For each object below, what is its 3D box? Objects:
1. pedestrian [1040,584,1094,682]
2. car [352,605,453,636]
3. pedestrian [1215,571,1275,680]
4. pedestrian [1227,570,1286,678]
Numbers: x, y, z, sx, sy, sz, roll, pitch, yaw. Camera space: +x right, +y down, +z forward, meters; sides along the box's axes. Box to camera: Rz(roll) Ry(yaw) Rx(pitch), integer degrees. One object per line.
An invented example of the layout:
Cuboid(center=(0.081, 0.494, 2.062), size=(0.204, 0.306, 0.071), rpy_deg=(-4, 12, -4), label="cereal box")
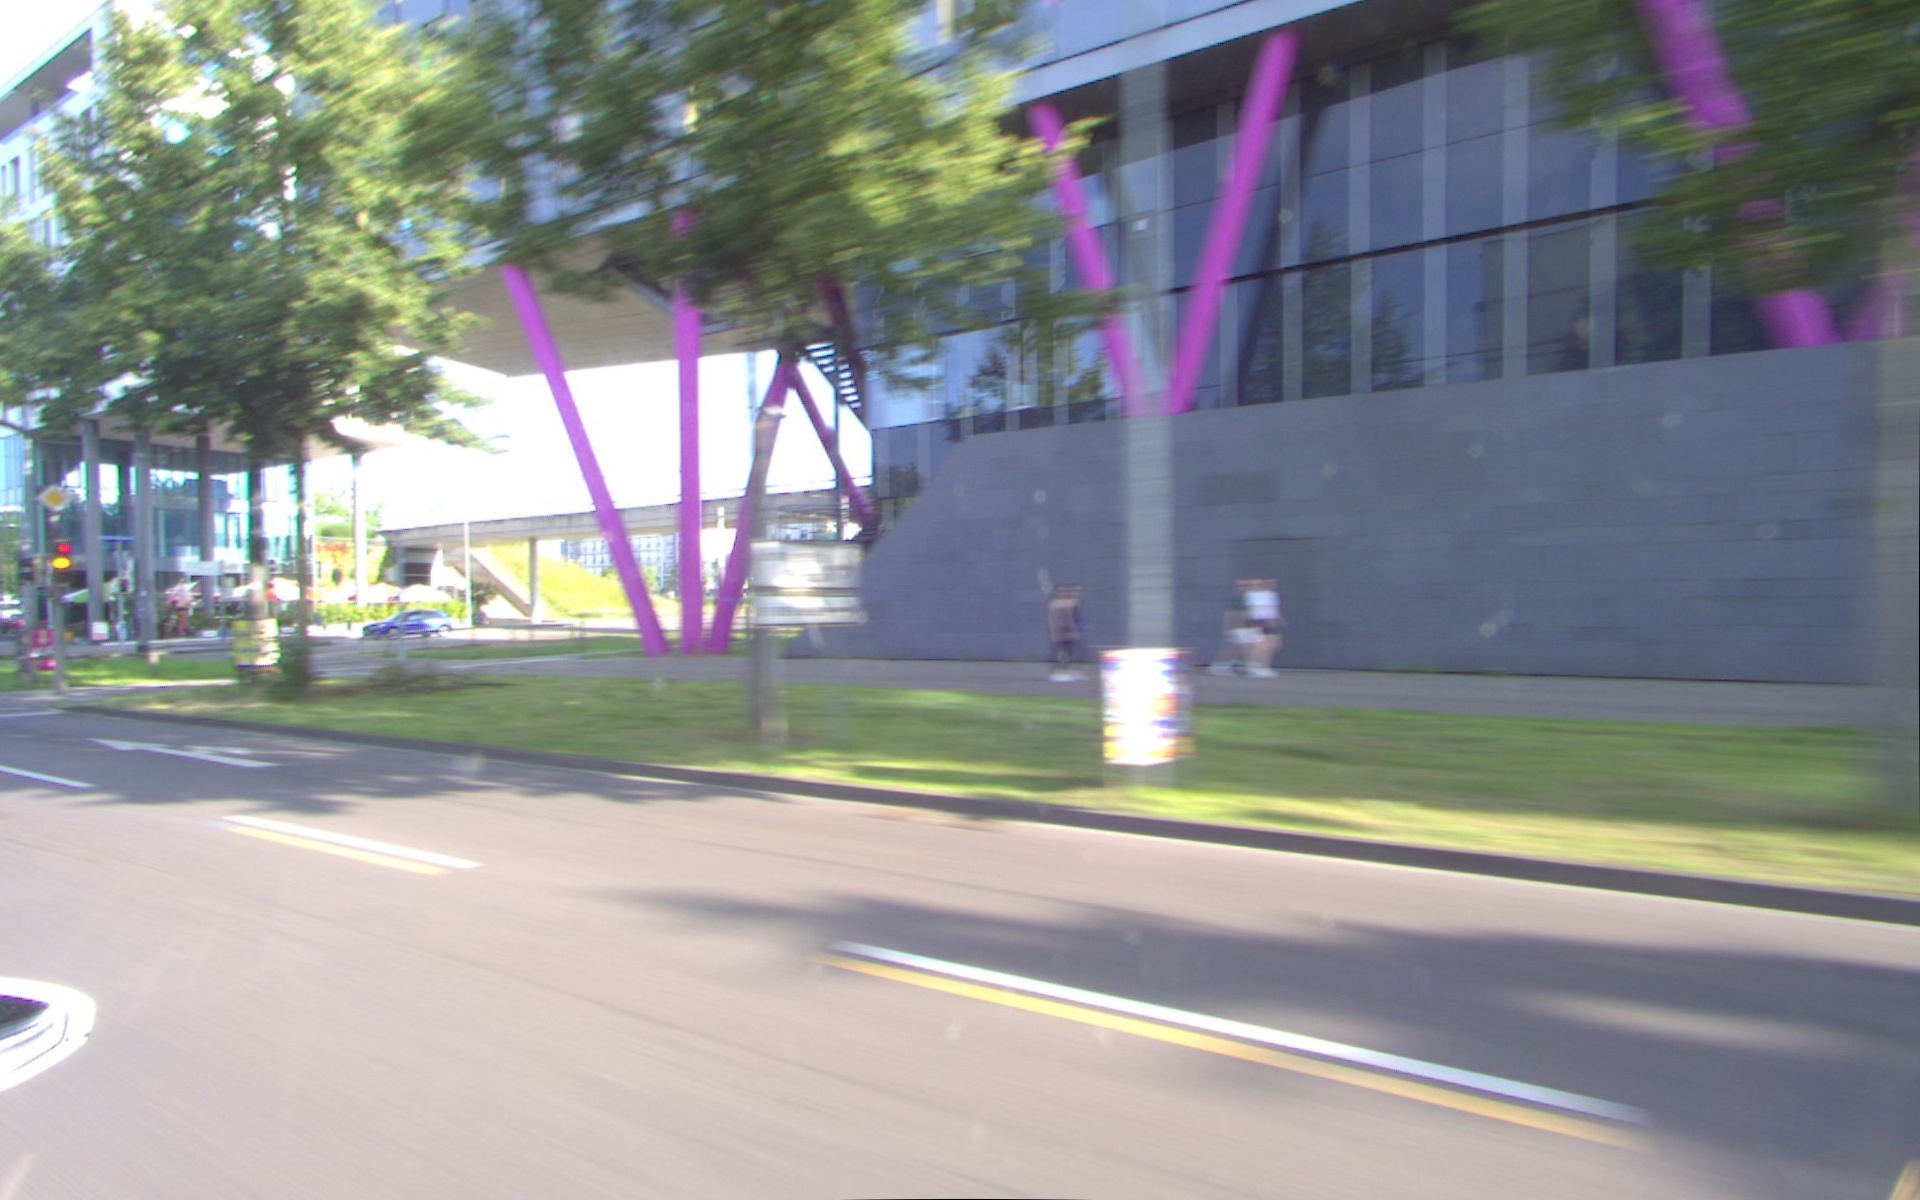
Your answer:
Cuboid(center=(1.859, 0.557, 17.373), size=(0.726, 1.660, 0.693), rpy_deg=(0, 1, 31), label="pedestrian")
Cuboid(center=(-28.417, 1.020, 51.189), size=(1.831, 1.443, 4.177), rpy_deg=(0, 1, 30), label="car")
Cuboid(center=(4.922, 0.415, 17.301), size=(0.831, 1.818, 0.752), rpy_deg=(0, 3, 31), label="pedestrian")
Cuboid(center=(5.276, 0.412, 17.782), size=(0.840, 1.850, 0.766), rpy_deg=(0, 3, 31), label="pedestrian")
